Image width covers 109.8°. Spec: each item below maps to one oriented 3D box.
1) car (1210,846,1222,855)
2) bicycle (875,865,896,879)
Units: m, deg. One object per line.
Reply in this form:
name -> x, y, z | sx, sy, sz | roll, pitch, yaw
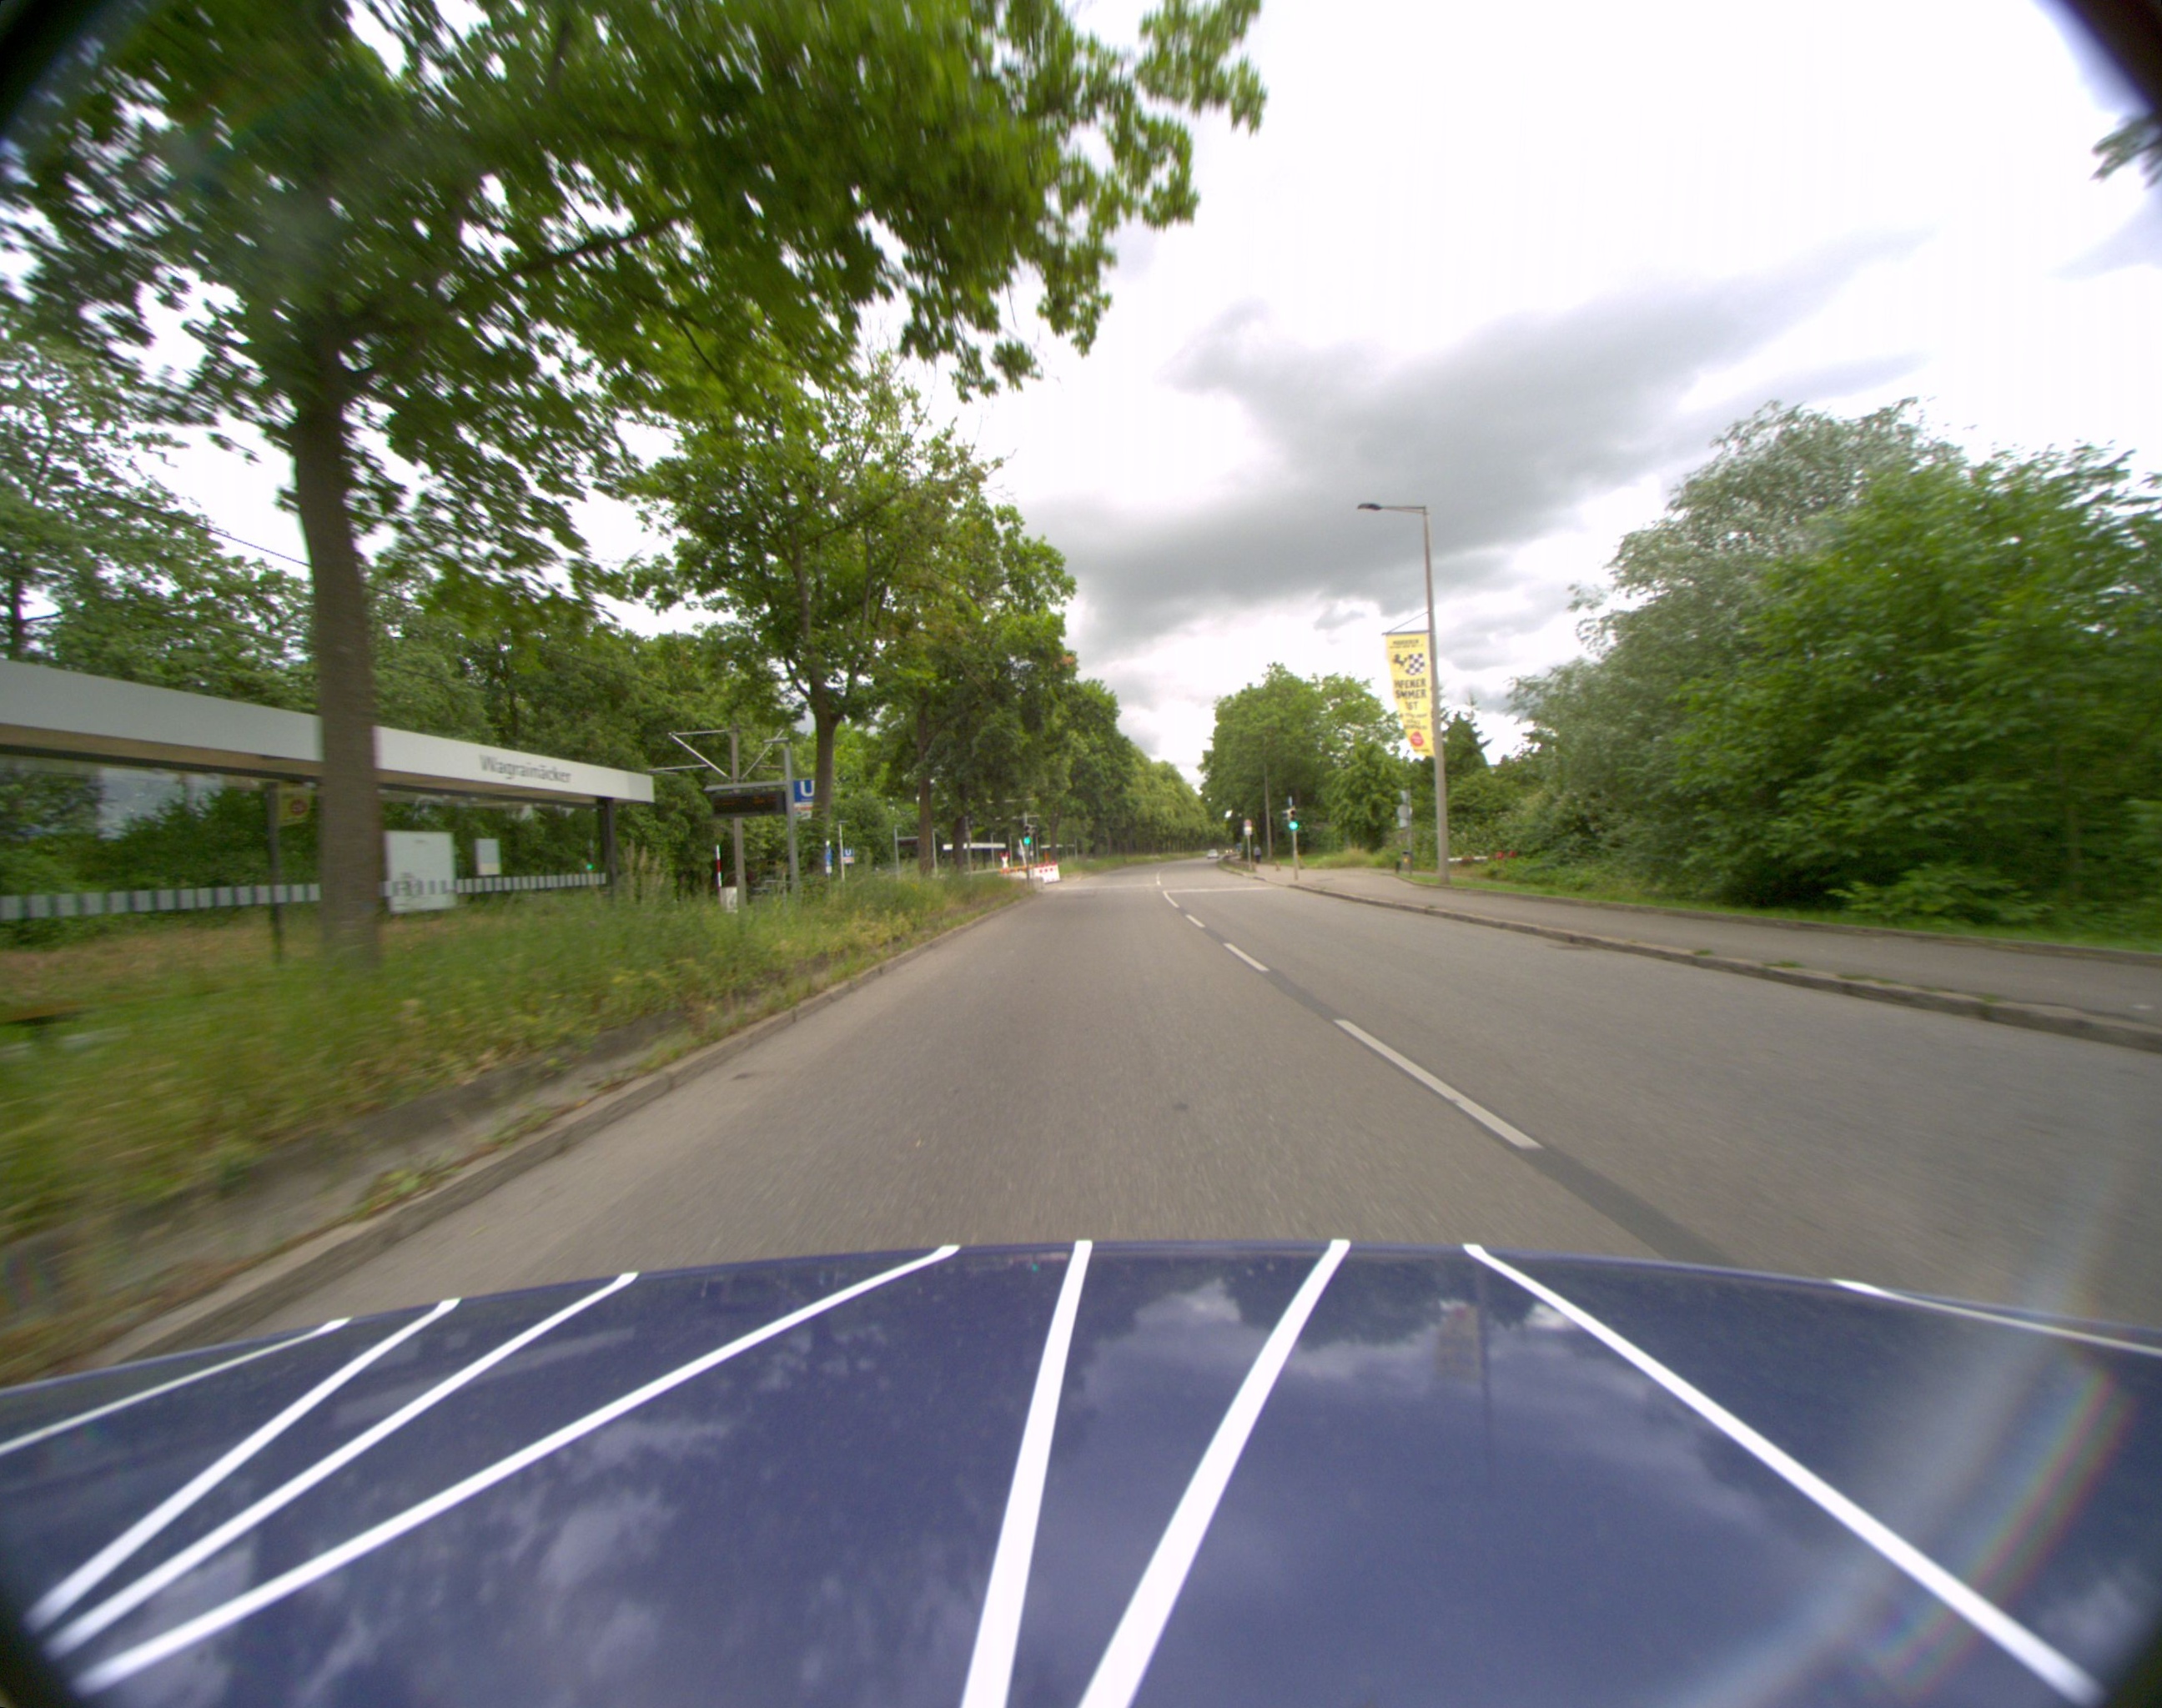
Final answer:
car -> 23.101, -0.624, 130.078 | 1.776, 1.431, 4.363 | -2, 0, 7
bicycle -> -15.575, 1.440, 60.609 | 1.511, 0.968, 0.450 | -5, 0, 6
